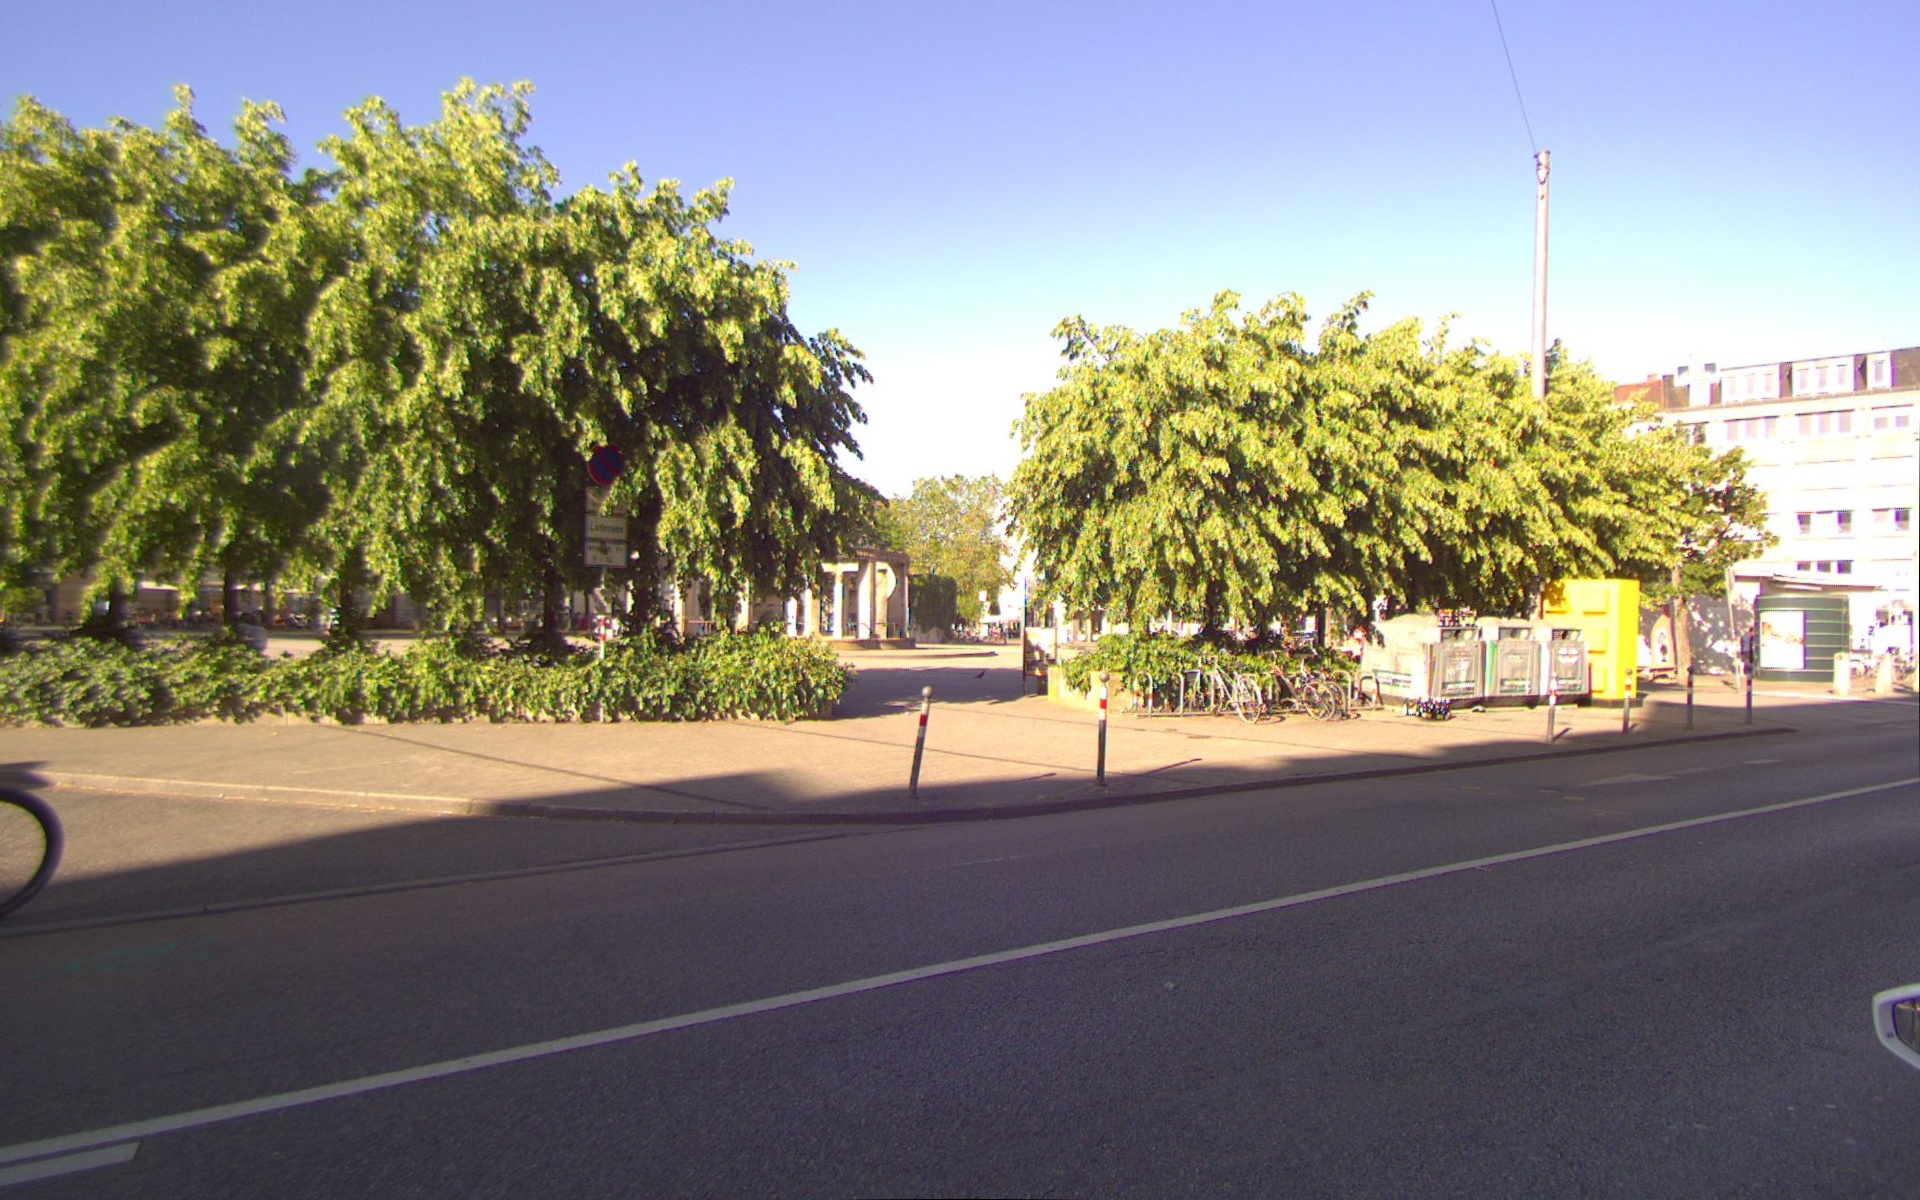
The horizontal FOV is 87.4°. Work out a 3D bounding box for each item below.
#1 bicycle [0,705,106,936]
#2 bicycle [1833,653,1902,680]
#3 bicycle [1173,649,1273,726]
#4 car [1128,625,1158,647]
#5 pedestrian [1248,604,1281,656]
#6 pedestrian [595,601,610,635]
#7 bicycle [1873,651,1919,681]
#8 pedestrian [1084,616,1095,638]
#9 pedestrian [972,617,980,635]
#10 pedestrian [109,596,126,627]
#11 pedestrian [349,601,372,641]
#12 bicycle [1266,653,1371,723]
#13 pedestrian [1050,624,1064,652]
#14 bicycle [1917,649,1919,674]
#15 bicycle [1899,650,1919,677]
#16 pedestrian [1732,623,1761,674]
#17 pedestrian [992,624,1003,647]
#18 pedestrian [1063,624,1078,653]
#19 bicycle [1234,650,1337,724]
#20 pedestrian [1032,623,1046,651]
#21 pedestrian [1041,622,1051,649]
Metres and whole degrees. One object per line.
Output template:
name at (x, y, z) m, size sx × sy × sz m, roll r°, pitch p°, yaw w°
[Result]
bicycle at (-5.368, 1.126, 4.655) m, size 0.629 × 1.099 × 2.060 m, roll 1°, pitch -1°, yaw 24°
bicycle at (30.807, 2.247, 34.120) m, size 0.600 × 0.802 × 1.634 m, roll 2°, pitch 0°, yaw -33°
bicycle at (4.056, 1.328, 15.648) m, size 0.508 × 1.029 × 1.930 m, roll 2°, pitch 0°, yaw -19°
car at (12.574, 2.425, 68.989) m, size 1.658 × 1.405 × 3.575 m, roll 1°, pitch -1°, yaw 5°
pedestrian at (12.010, 1.172, 39.581) m, size 0.875 × 2.040 × 0.896 m, roll 1°, pitch 0°, yaw -17°
pedestrian at (-20.905, 1.049, 58.672) m, size 0.669 × 1.974 × 0.634 m, roll 2°, pitch 0°, yaw -33°
bicycle at (33.191, 2.307, 35.070) m, size 0.599 × 0.946 × 1.854 m, roll 2°, pitch 0°, yaw -30°
pedestrian at (12.845, 2.684, 99.582) m, size 0.860 × 2.199 × 0.902 m, roll 2°, pitch 0°, yaw -5°
pedestrian at (1.759, 2.864, 111.969) m, size 0.629 × 1.974 × 0.675 m, roll 2°, pitch 0°, yaw -14°
pedestrian at (-48.008, 0.657, 57.242) m, size 0.600 × 1.744 × 0.643 m, roll 2°, pitch 0°, yaw 45°
pedestrian at (-26.585, 0.918, 44.540) m, size 0.599 × 1.744 × 0.644 m, roll 2°, pitch 0°, yaw 37°
bicycle at (5.812, 1.404, 16.409) m, size 0.508 × 0.968 × 1.898 m, roll 2°, pitch 0°, yaw -20°
pedestrian at (7.089, 2.763, 73.395) m, size 0.860 × 2.040 × 0.902 m, roll 2°, pitch 0°, yaw -5°
bicycle at (37.111, 2.343, 37.541) m, size 0.599 × 0.946 × 1.854 m, roll 2°, pitch 0°, yaw -30°
bicycle at (35.105, 2.335, 36.118) m, size 0.599 × 0.946 × 1.854 m, roll 2°, pitch 0°, yaw -30°
pedestrian at (27.481, 1.703, 35.111) m, size 0.700 × 1.739 × 0.475 m, roll 2°, pitch 0°, yaw -21°
pedestrian at (3.316, 3.152, 89.598) m, size 0.860 × 2.040 × 0.902 m, roll 2°, pitch 0°, yaw -5°
pedestrian at (8.092, 2.815, 73.492) m, size 0.860 × 2.040 × 0.902 m, roll 2°, pitch 0°, yaw -5°
bicycle at (5.223, 1.371, 16.250) m, size 0.508 × 1.016 × 1.923 m, roll 2°, pitch 0°, yaw -20°
pedestrian at (5.822, 2.731, 74.349) m, size 0.860 × 2.040 × 0.902 m, roll 2°, pitch 0°, yaw -5°
pedestrian at (6.529, 2.709, 76.195) m, size 0.628 × 1.974 × 0.676 m, roll 2°, pitch 0°, yaw -7°
